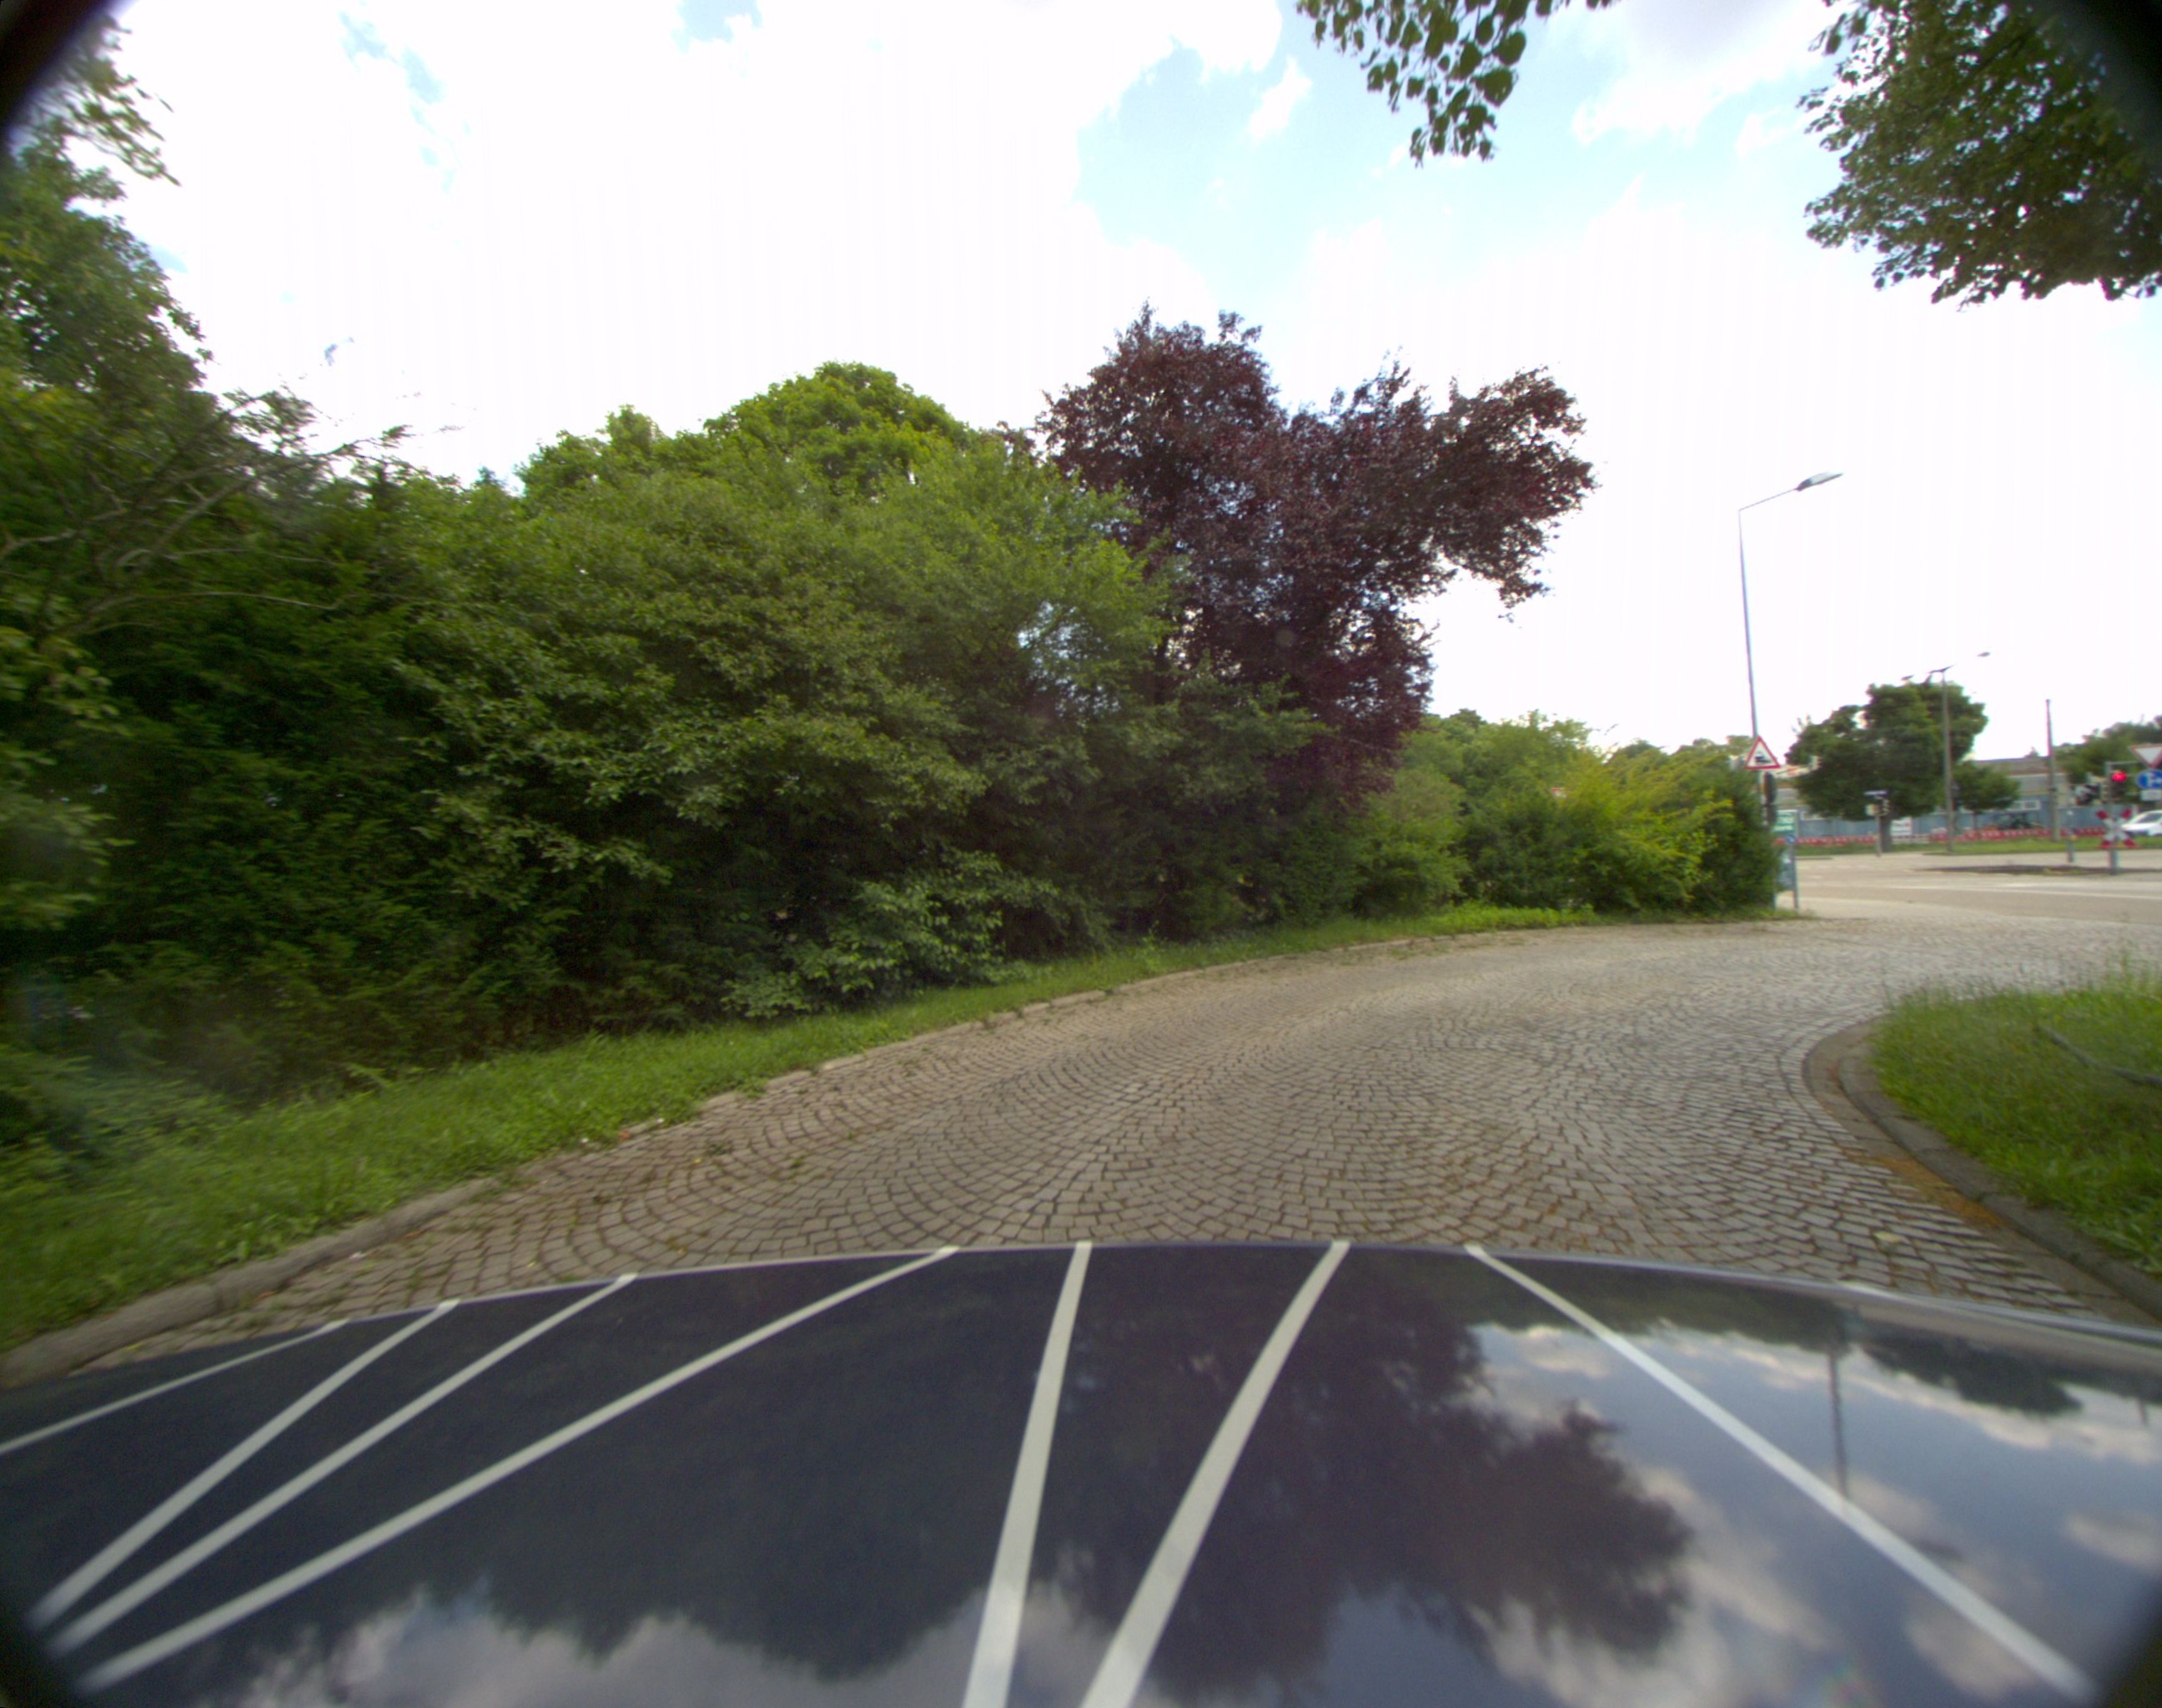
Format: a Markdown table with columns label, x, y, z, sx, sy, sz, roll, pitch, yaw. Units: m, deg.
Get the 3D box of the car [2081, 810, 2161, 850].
| label | x | y | z | sx | sy | sz | roll | pitch | yaw |
| --- | --- | --- | --- | --- | --- | --- | --- | --- | --- |
| car | 57.814 | -1.356 | 40.687 | 4.823 | 2.002 | 2.002 | -3 | 0 | 18 |
